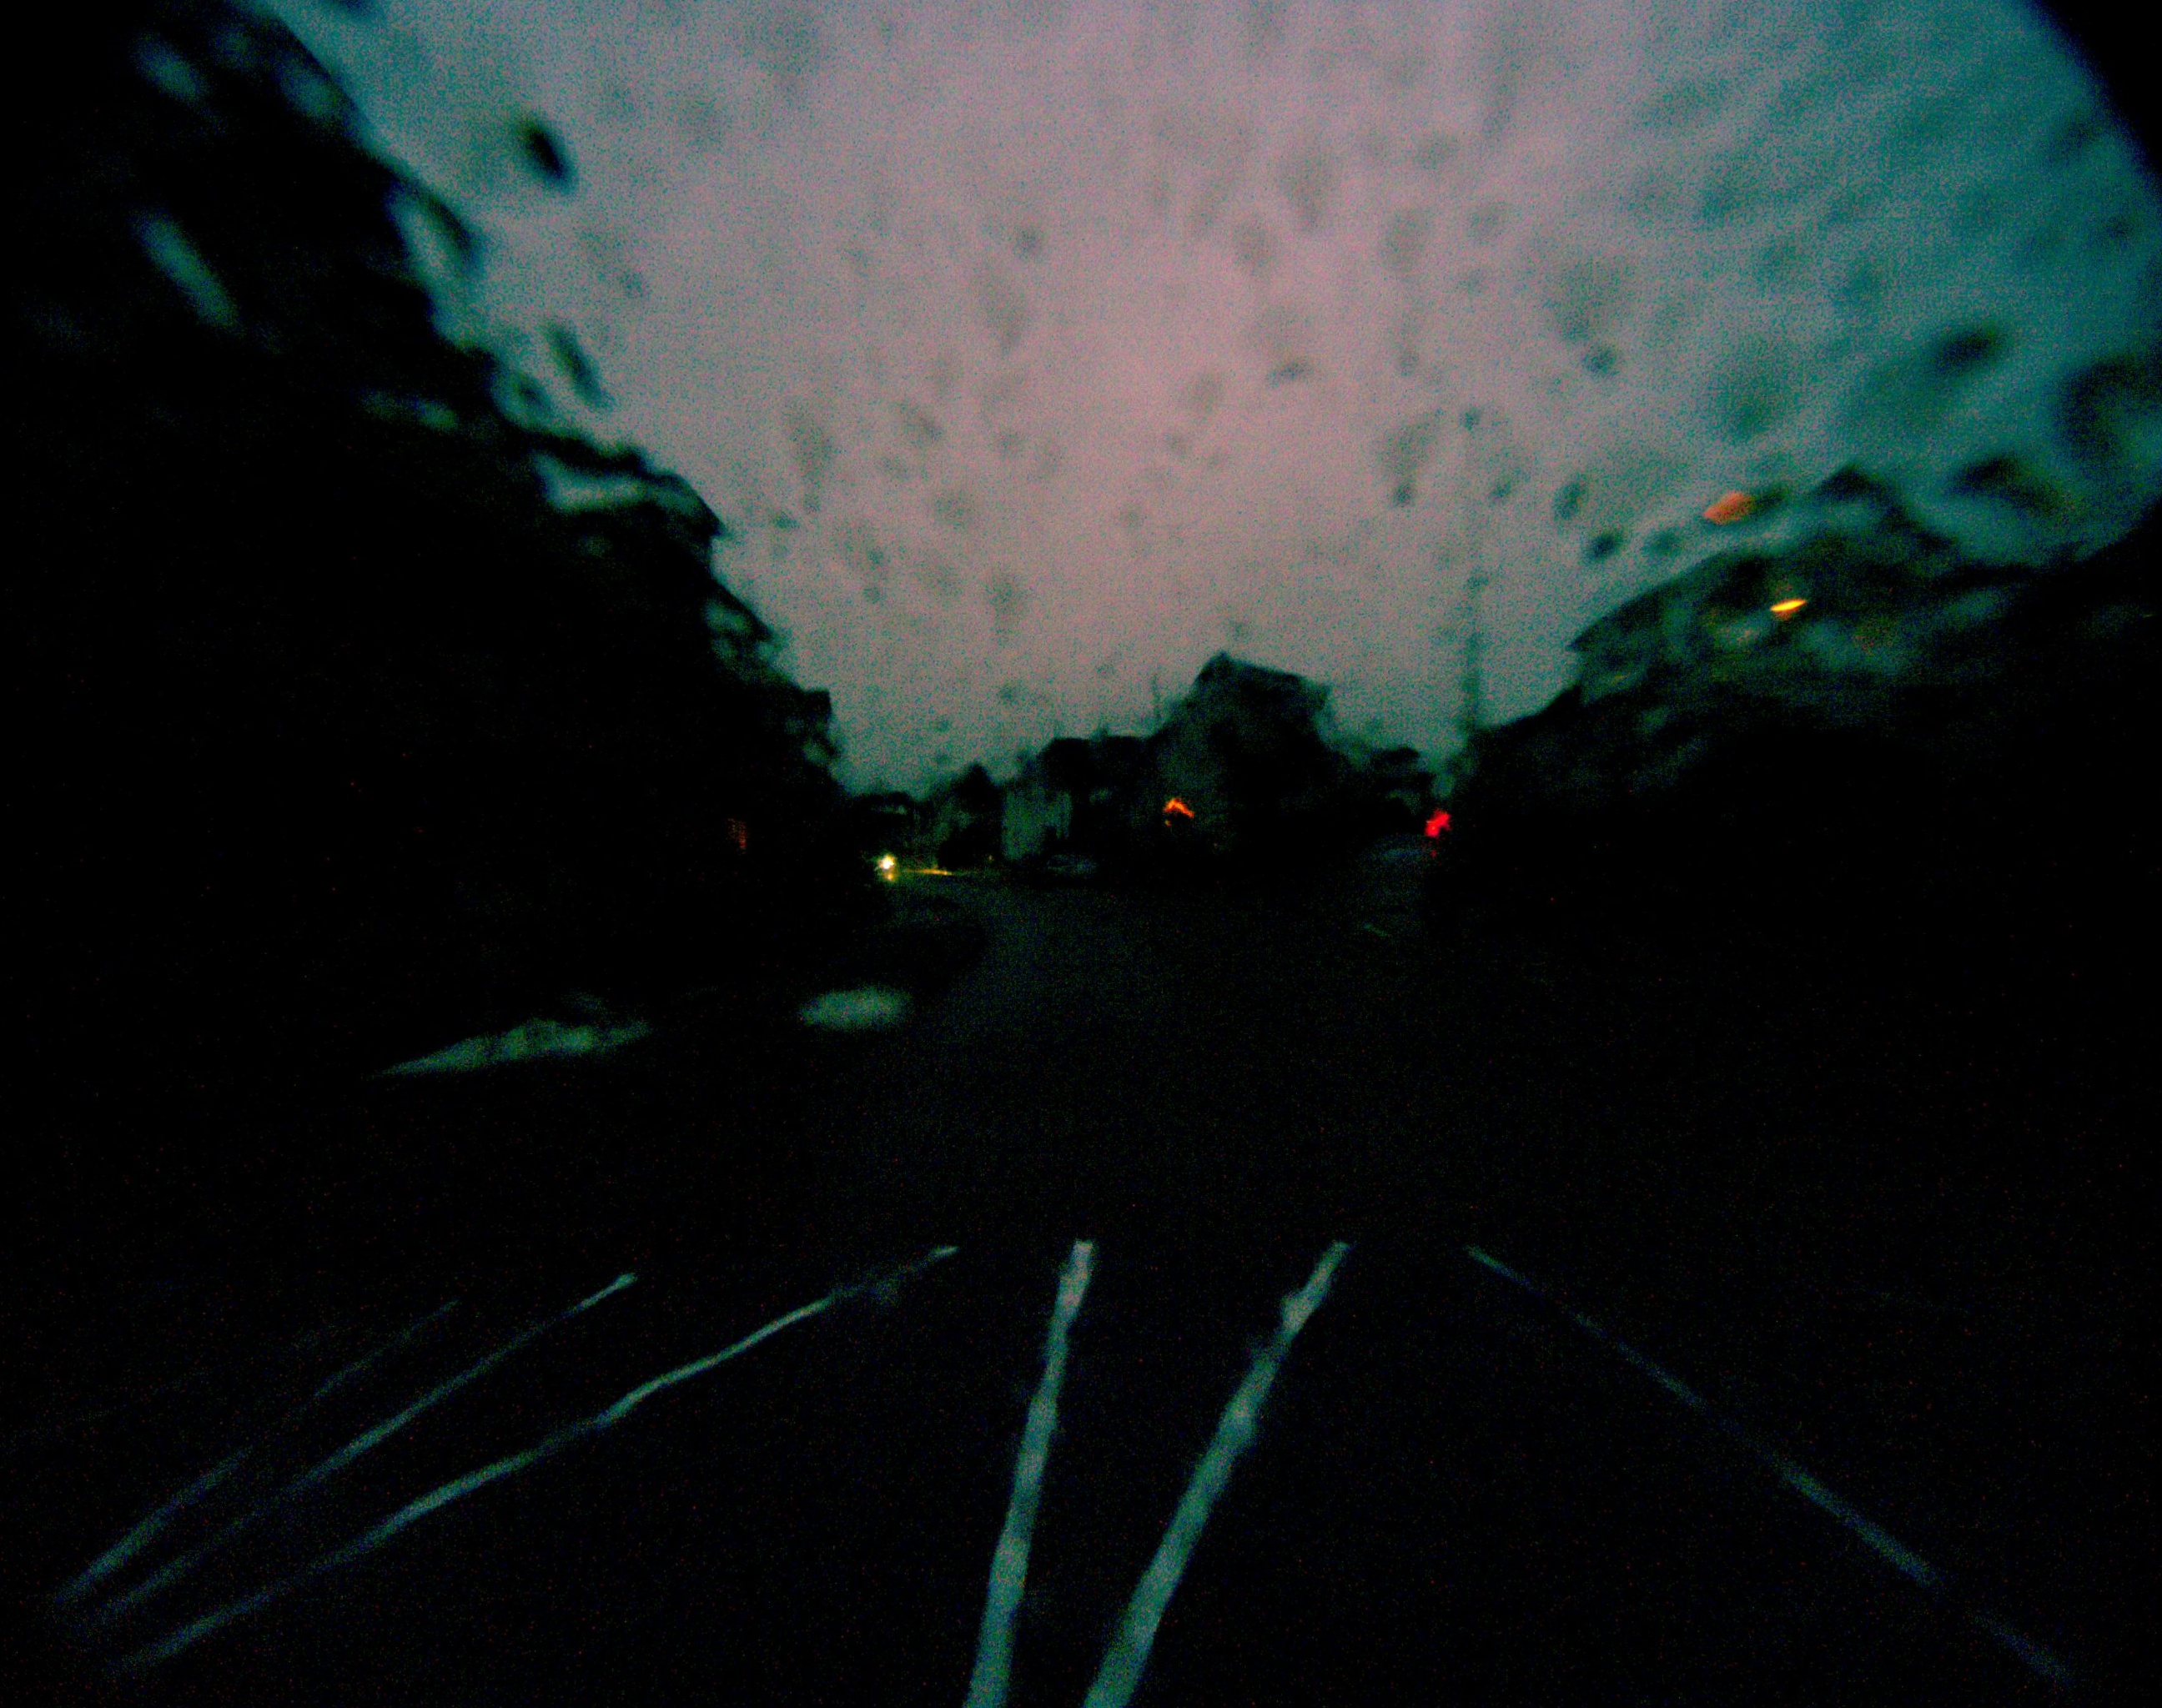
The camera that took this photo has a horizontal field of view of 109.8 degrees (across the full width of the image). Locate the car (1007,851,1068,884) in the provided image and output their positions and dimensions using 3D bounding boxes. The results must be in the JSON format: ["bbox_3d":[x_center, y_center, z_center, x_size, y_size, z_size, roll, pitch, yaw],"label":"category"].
[{"bbox_3d":[-2.190,0.634,37.047,1.830,1.432,4.061,-4,1,-19],"label":"car"}]

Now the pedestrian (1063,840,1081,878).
[{"bbox_3d":[-0.449,0.228,37.658,0.600,1.859,0.810,-4,3,-19],"label":"pedestrian"}]

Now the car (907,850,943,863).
[{"bbox_3d":[-19.583,0.357,95.480,4.226,1.417,2.003,-2,3,34],"label":"car"}]

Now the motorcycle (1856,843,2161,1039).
[{"bbox_3d":[7.557,0.609,5.723,2.232,1.291,1.059,-3,2,36],"label":"motorcycle"}]

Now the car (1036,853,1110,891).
[{"bbox_3d":[-0.413,0.703,31.575,1.755,1.381,4.139,-4,1,-19],"label":"car"}]

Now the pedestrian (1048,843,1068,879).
[{"bbox_3d":[-1.150,0.332,37.807,0.709,1.769,0.810,-4,3,-20],"label":"pedestrian"}]

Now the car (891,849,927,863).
[{"bbox_3d":[-23.316,0.241,103.113,4.485,1.570,1.996,-4,2,-21],"label":"car"}]

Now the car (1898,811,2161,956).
[{"bbox_3d":[12.288,0.242,8.426,3.993,1.408,1.918,-3,1,14],"label":"car"}]

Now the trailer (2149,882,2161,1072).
[{"bbox_3d":[7.409,0.764,2.185,2.062,1.162,4.869,-2,1,5],"label":"trailer"}]

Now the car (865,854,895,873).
[{"bbox_3d":[-17.629,0.800,66.465,1.733,1.424,4.788,-4,2,-23],"label":"car"}]

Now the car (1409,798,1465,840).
[{"bbox_3d":[15.890,-1.571,33.808,1.995,1.623,4.005,-3,3,28],"label":"car"}]
